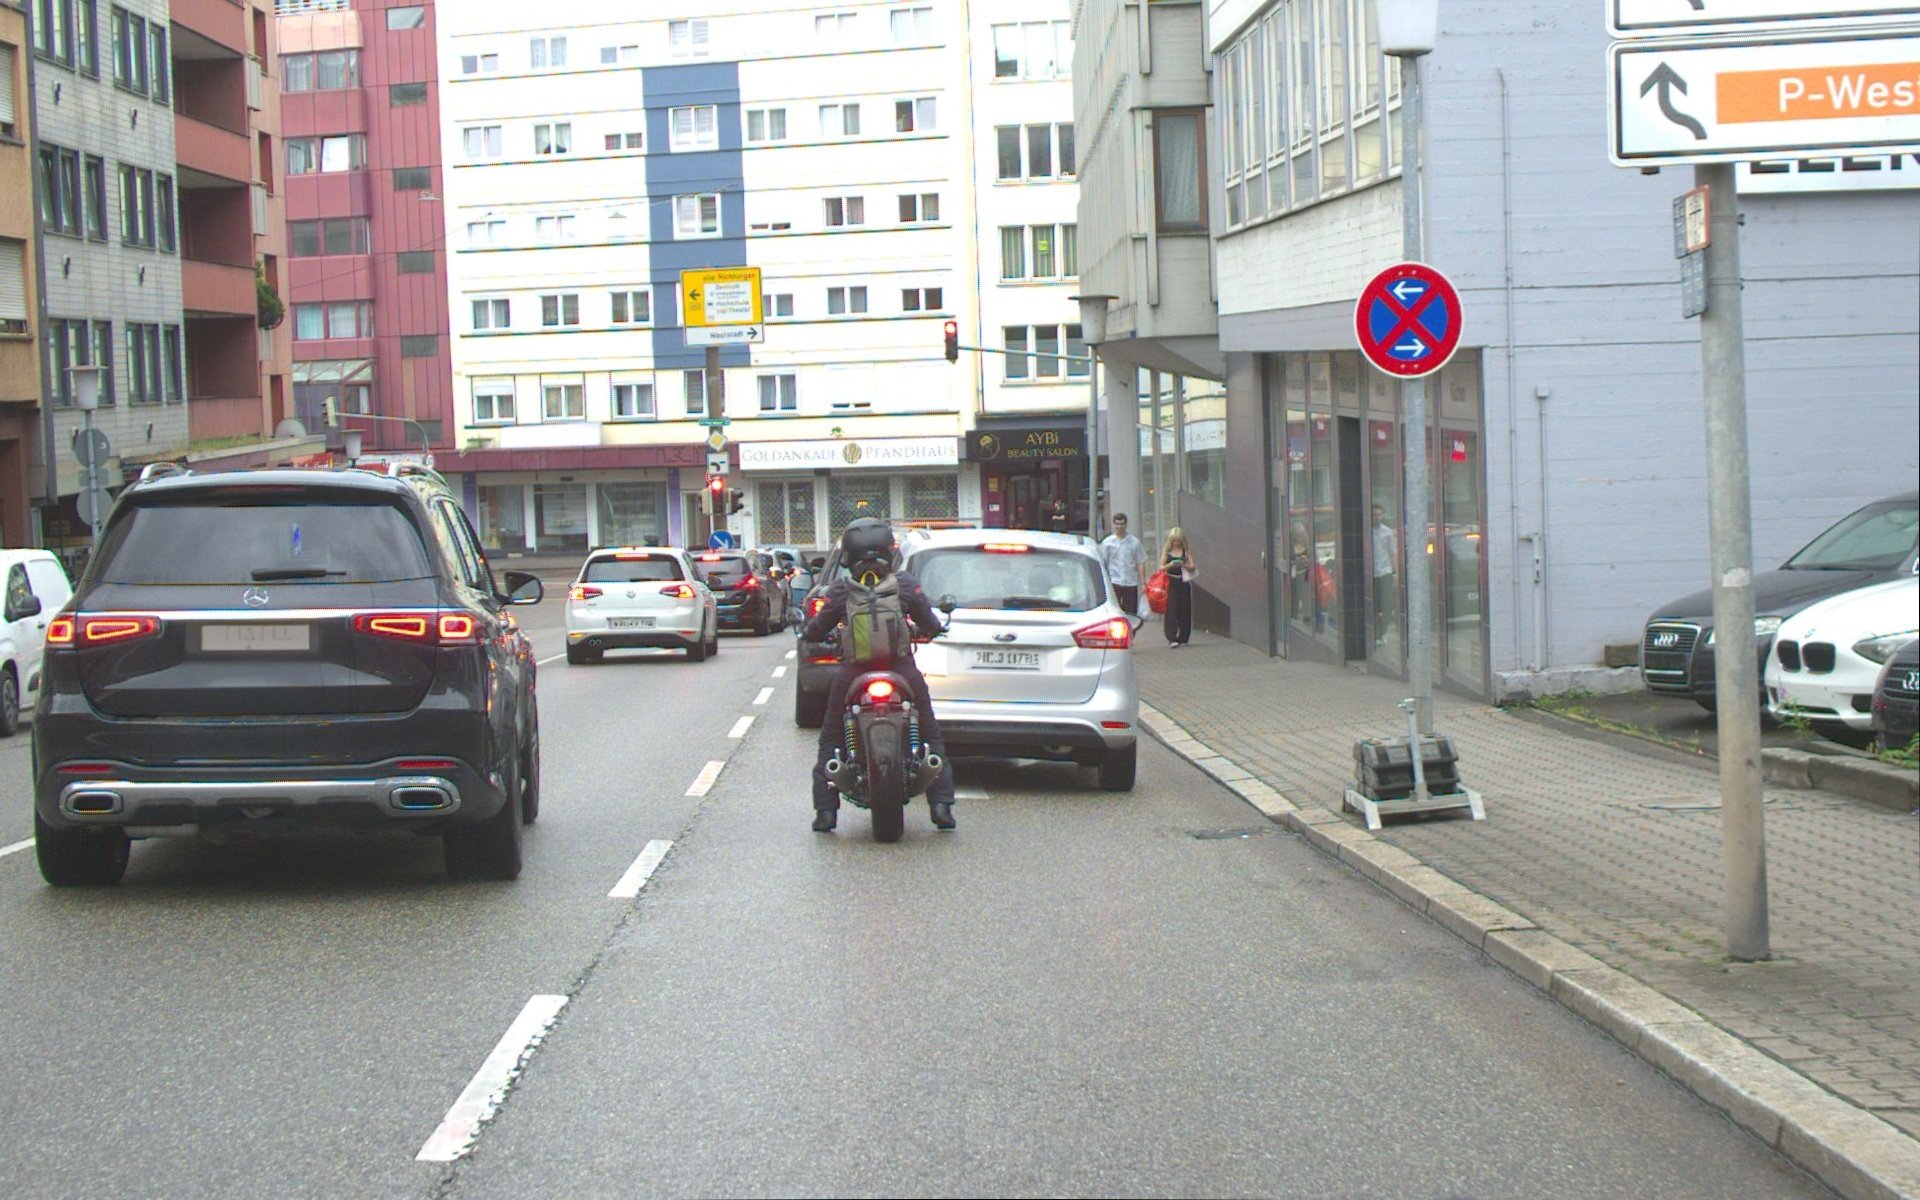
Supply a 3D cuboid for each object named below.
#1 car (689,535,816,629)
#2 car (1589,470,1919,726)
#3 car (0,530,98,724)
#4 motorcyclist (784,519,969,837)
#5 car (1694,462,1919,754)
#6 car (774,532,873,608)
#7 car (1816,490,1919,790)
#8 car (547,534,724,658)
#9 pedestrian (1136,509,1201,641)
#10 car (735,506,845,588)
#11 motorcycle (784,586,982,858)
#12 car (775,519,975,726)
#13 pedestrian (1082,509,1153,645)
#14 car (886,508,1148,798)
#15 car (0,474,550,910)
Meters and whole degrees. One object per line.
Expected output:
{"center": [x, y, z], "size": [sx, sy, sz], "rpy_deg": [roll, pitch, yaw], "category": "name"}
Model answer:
{"center": [-3.490, -0.338, 58.510], "size": [1.885, 1.497, 4.399], "rpy_deg": [0, 1, 0], "category": "car"}
{"center": [6.397, -0.017, 22.871], "size": [3.986, 1.592, 1.800], "rpy_deg": [0, 0, -19], "category": "car"}
{"center": [-9.822, 0.269, 33.291], "size": [1.869, 1.747, 4.400], "rpy_deg": [-4, 2, -2], "category": "car"}
{"center": [-0.431, 0.384, 17.389], "size": [0.866, 1.555, 0.764], "rpy_deg": [-1, 0, -4], "category": "motorcyclist"}
{"center": [6.541, 0.038, 20.243], "size": [3.986, 1.592, 1.800], "rpy_deg": [0, 0, -19], "category": "car"}
{"center": [-2.795, -0.646, 71.211], "size": [1.885, 1.497, 4.399], "rpy_deg": [0, 1, 0], "category": "car"}
{"center": [6.626, 0.194, 17.748], "size": [3.986, 1.489, 1.733], "rpy_deg": [0, 0, -19], "category": "car"}
{"center": [-4.147, -0.096, 44.577], "size": [1.885, 1.497, 4.399], "rpy_deg": [0, 1, 0], "category": "car"}
{"center": [2.610, -0.318, 43.158], "size": [0.717, 1.606, 0.611], "rpy_deg": [-1, 3, -4], "category": "pedestrian"}
{"center": [-3.207, -1.027, 65.457], "size": [1.885, 1.497, 4.399], "rpy_deg": [0, 1, 0], "category": "car"}
{"center": [-0.425, 0.567, 17.411], "size": [0.867, 1.182, 2.562], "rpy_deg": [-1, 2, -4], "category": "motorcycle"}
{"center": [-0.741, 0.139, 28.220], "size": [1.522, 1.543, 3.108], "rpy_deg": [-1, 2, -3], "category": "car"}
{"center": [1.922, -0.288, 42.135], "size": [0.769, 1.606, 0.704], "rpy_deg": [-1, 3, -4], "category": "pedestrian"}
{"center": [0.301, 0.269, 21.669], "size": [1.416, 1.645, 3.108], "rpy_deg": [-1, 2, -3], "category": "car"}
{"center": [-3.022, 0.317, 16.134], "size": [2.020, 1.733, 4.748], "rpy_deg": [0, 1, -5], "category": "car"}
